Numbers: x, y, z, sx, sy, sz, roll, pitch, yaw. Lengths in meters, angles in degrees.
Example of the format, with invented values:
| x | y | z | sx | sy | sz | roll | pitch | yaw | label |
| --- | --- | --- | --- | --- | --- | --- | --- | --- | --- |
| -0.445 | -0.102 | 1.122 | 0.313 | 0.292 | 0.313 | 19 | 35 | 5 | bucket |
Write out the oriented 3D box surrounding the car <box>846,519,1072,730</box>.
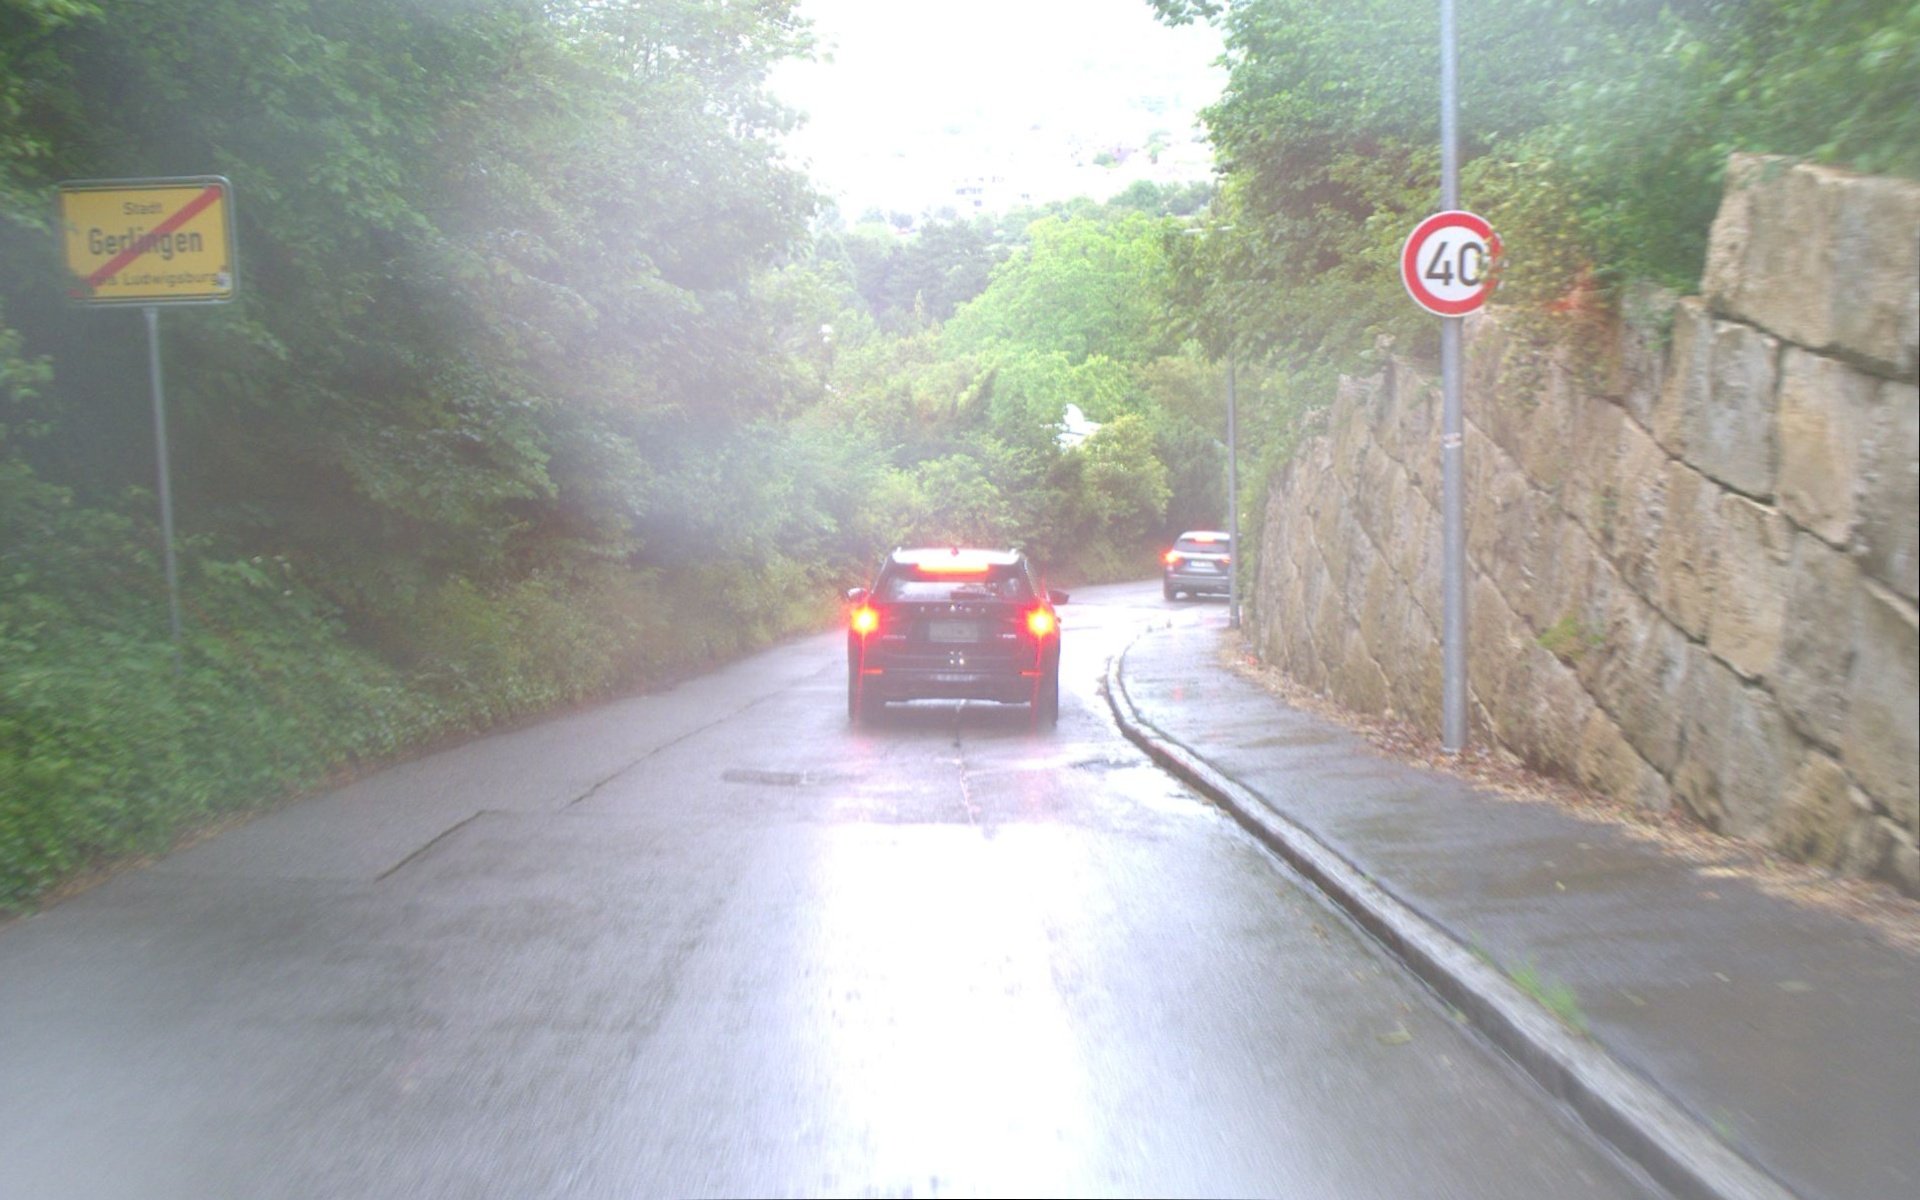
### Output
| x | y | z | sx | sy | sz | roll | pitch | yaw | label |
| --- | --- | --- | --- | --- | --- | --- | --- | --- | --- |
| 0.054 | 0.151 | 29.532 | 1.700 | 1.445 | 4.001 | 0 | 5 | 3 | car |

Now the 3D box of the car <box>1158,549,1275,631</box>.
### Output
| x | y | z | sx | sy | sz | roll | pitch | yaw | label |
| --- | --- | --- | --- | --- | --- | --- | --- | --- | --- |
| 5.785 | -0.253 | 77.098 | 1.864 | 1.737 | 3.997 | 2 | 1 | 15 | car |
